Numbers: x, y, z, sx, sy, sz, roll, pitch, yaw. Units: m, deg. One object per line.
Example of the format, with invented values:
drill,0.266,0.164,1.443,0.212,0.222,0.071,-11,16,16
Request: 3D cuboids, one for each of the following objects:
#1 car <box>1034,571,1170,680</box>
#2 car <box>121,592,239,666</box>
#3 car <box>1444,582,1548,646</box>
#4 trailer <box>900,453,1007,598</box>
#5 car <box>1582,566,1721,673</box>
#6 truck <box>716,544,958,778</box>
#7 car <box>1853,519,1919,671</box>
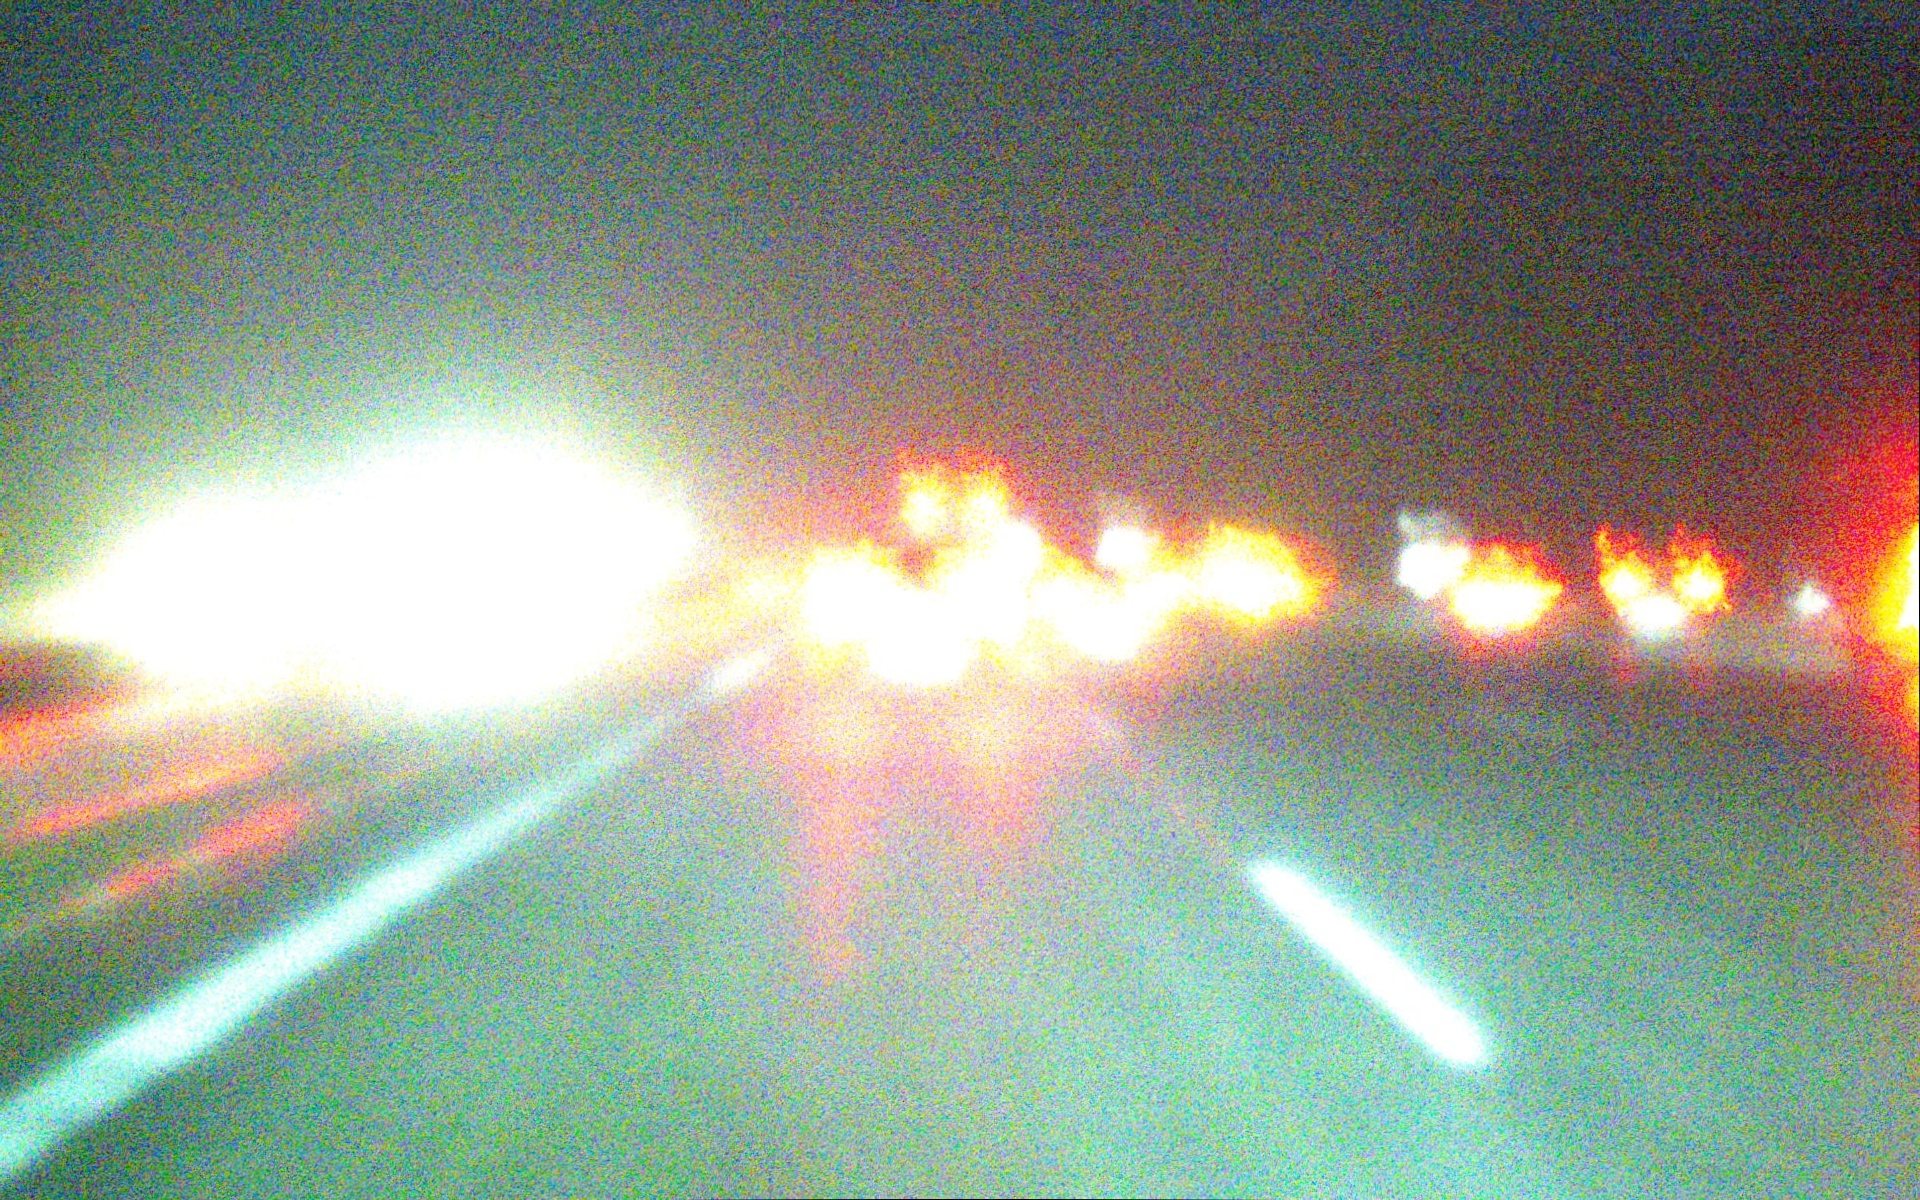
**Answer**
car,2.181,0.365,53.857,1.800,1.612,4.257,-1,0,-2
car,-19.555,0.706,86.339,1.993,1.714,4.288,3,0,-1
car,14.347,0.357,92.213,1.993,1.595,4.000,3,0,-1
trailer,-0.348,-3.016,132.804,2.738,4.232,13.379,3,6,-5
car,13.934,0.364,69.490,2.233,2.007,4.000,1,1,4
truck,-1.150,0.539,35.139,2.145,2.070,6.604,3,0,0
car,13.847,-0.079,47.256,2.063,2.007,5.448,1,1,4
